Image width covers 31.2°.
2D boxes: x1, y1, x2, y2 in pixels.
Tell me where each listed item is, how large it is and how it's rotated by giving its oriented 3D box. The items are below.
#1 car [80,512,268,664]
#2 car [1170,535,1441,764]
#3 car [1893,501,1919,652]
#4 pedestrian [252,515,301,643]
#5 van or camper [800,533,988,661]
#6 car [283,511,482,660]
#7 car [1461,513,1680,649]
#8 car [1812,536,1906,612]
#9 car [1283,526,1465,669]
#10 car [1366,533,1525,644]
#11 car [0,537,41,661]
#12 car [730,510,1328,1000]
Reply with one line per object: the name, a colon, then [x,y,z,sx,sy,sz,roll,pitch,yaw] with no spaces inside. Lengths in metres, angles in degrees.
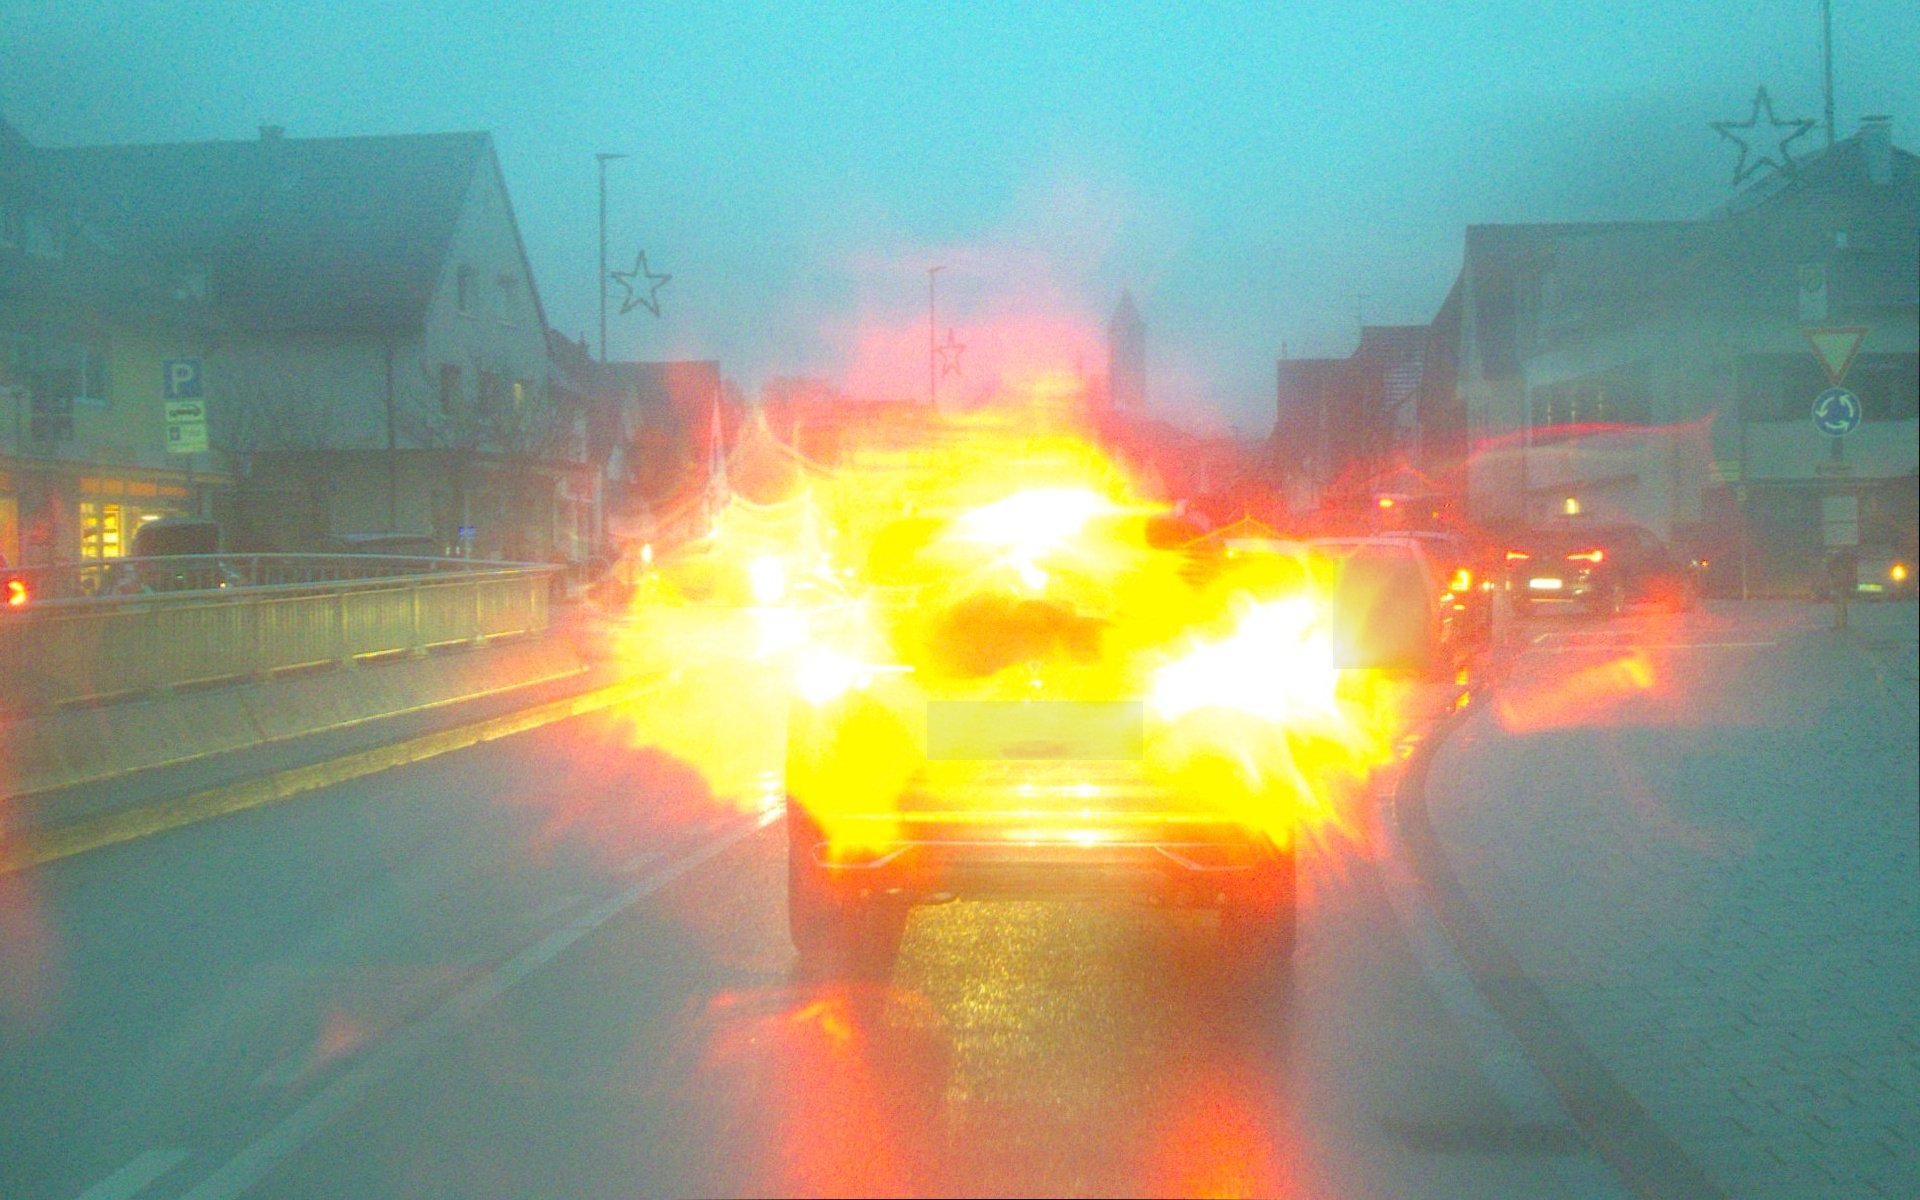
car: [-10.657,-0.194,46.440,2.037,1.919,4.058,-1,1,-19]
car: [2.552,0.296,24.676,1.683,1.448,3.999,-2,1,9]
car: [11.322,-0.343,33.004,4.205,1.455,1.793,-3,0,3]
pedestrian: [-9.240,-0.288,46.449,0.495,1.695,0.713,-3,1,-19]
van or camper: [-0.701,-0.060,38.810,1.562,1.351,3.421,-1,1,8]
car: [-7.959,-0.230,47.102,2.037,1.919,4.058,-1,1,-19]
car: [10.191,-0.345,57.138,2.161,1.984,4.493,-4,0,28]
car: [18.688,-0.552,71.386,1.566,1.408,3.598,-4,0,18]
car: [4.421,-0.070,36.881,1.815,1.407,3.999,1,2,6]
car: [6.461,-0.180,45.835,1.994,1.387,3.999,-1,1,8]
car: [-13.567,-0.035,46.670,1.821,1.607,4.058,-1,1,-19]
car: [0.390,0.456,13.549,1.964,1.589,4.313,1,1,5]
